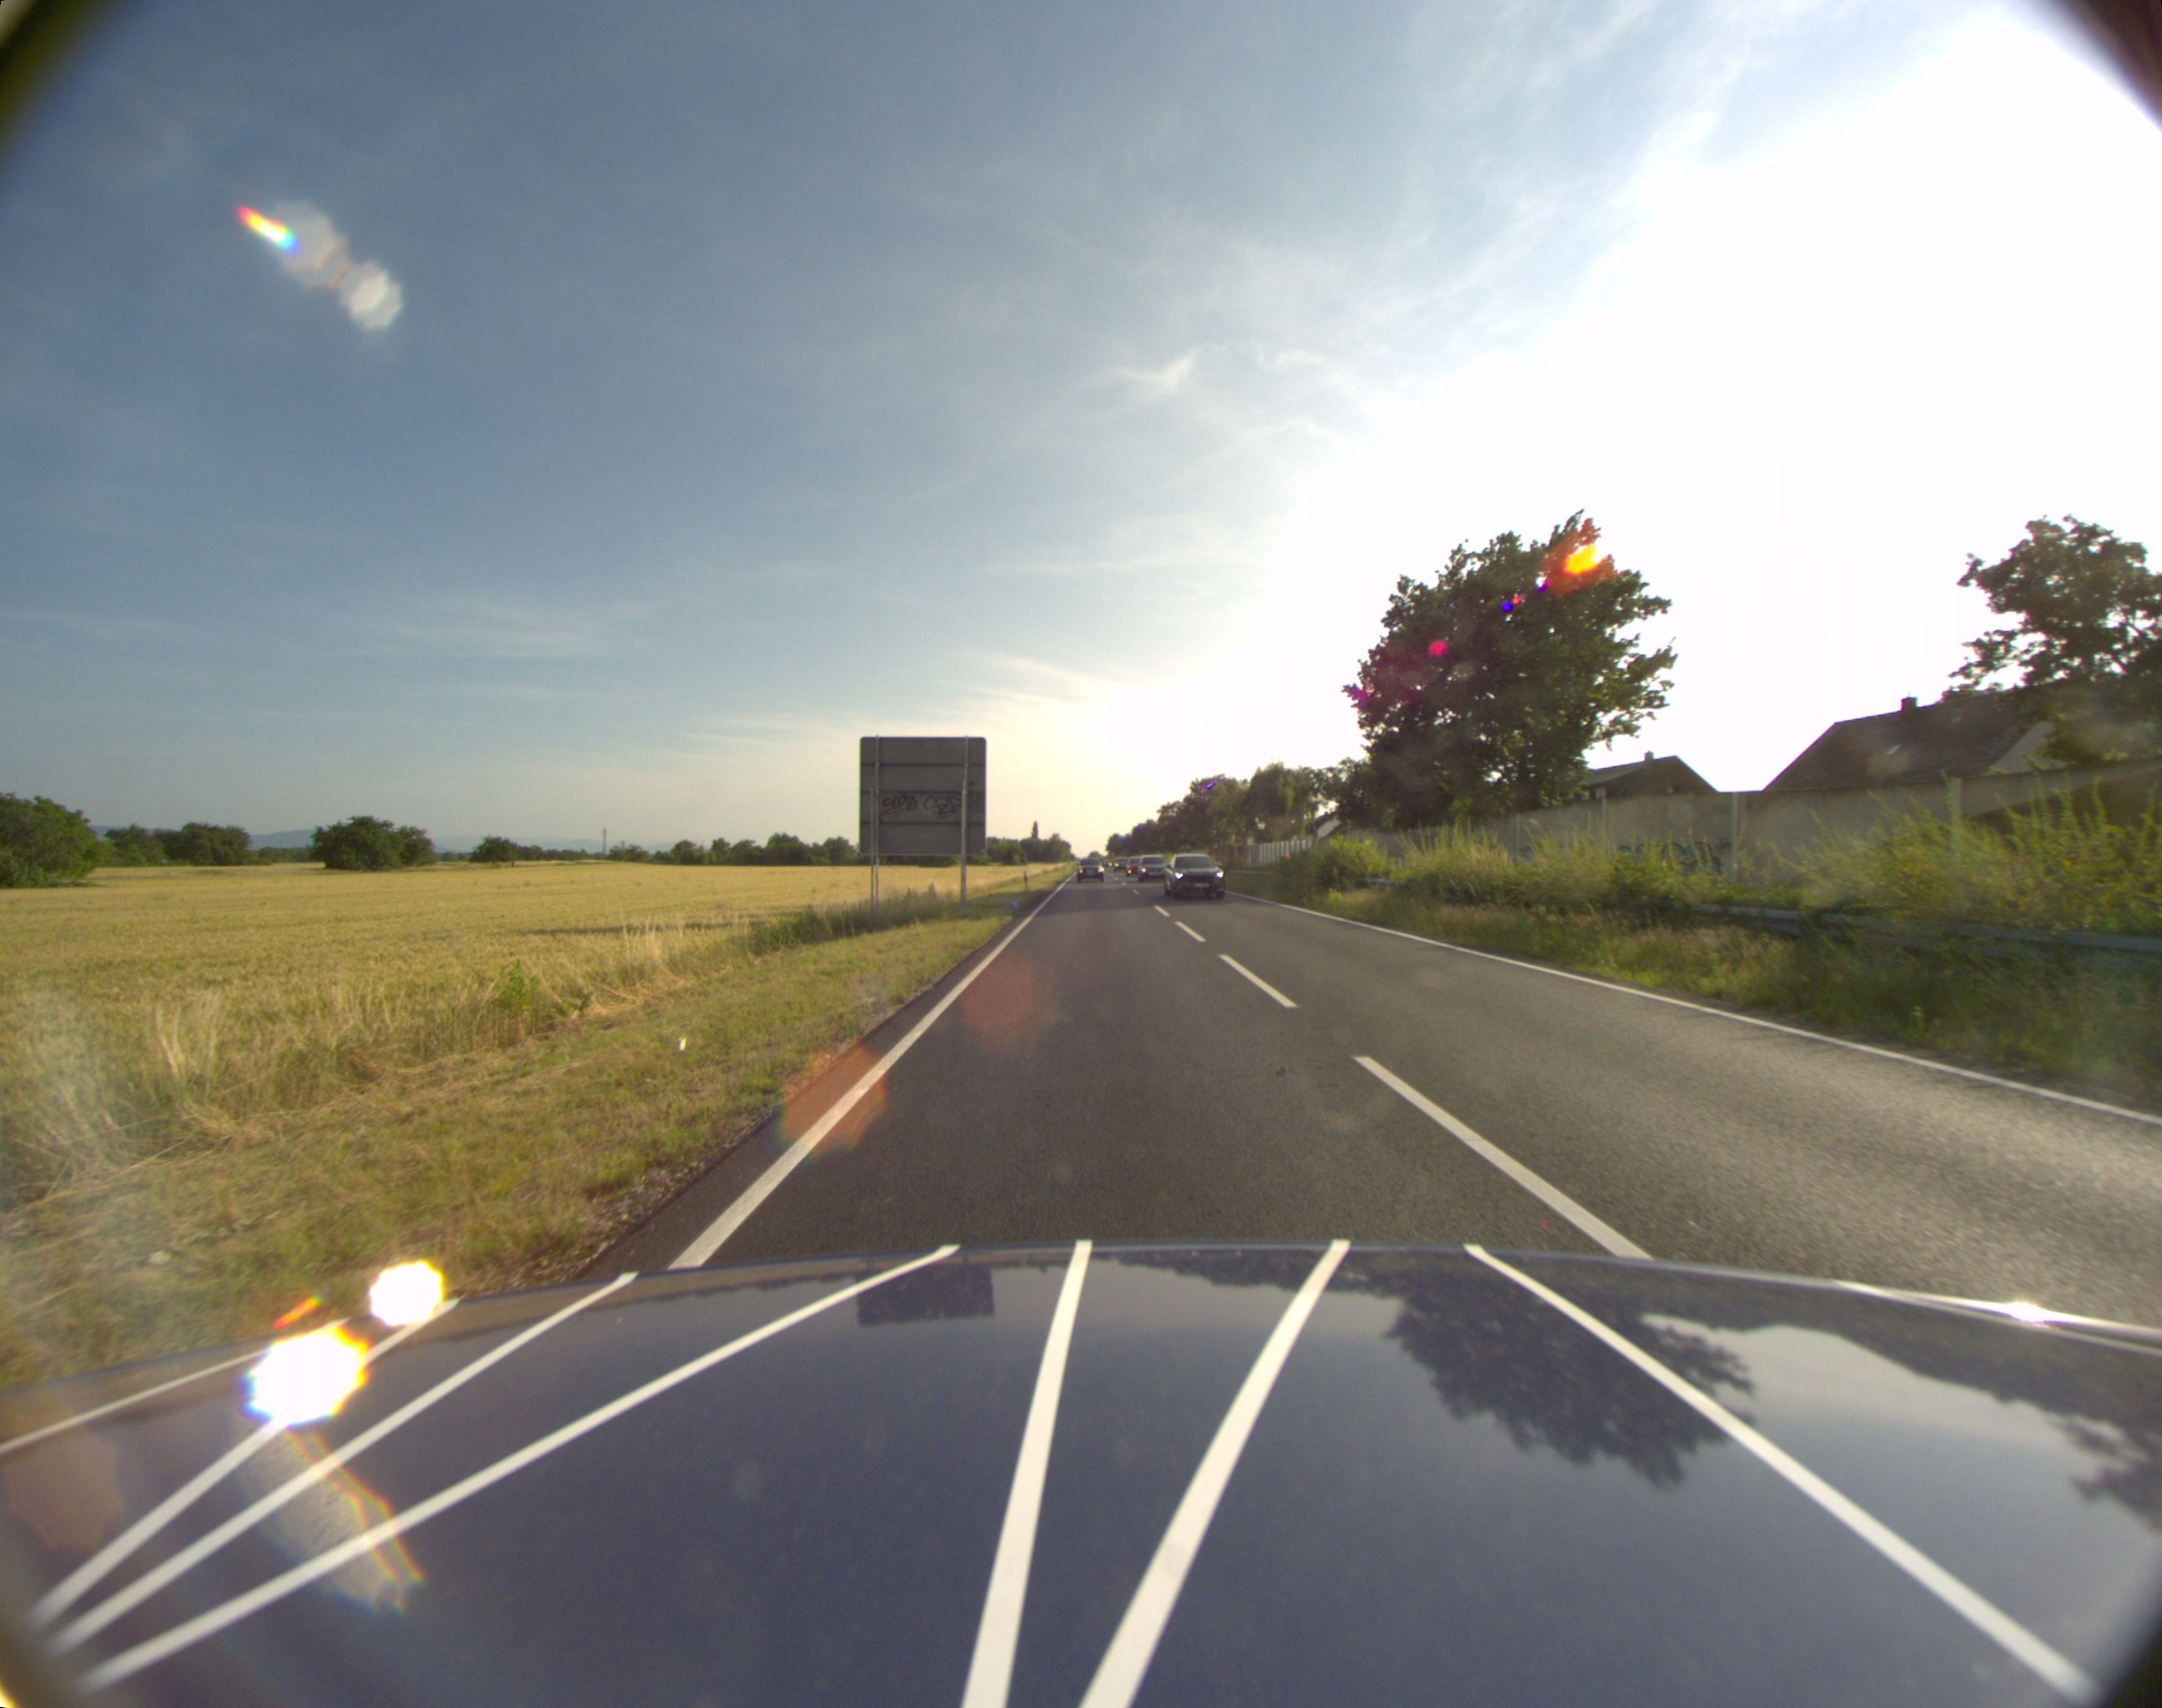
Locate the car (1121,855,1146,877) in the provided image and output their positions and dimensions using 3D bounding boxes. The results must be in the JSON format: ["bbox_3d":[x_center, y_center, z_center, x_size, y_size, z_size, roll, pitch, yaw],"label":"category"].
[{"bbox_3d":[4.314,0.989,62.965,1.822,1.661,4.000,-2,0,1],"label":"car"}]

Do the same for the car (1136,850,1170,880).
[{"bbox_3d":[4.492,0.666,47.905,1.822,1.724,4.000,-2,0,1],"label":"car"}]

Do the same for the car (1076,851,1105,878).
[{"bbox_3d":[0.607,0.637,50.799,1.822,1.661,3.999,-2,0,0],"label":"car"}]

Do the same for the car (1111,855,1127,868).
[{"bbox_3d":[4.599,0.926,92.667,1.700,1.456,3.646,-2,0,0],"label":"car"}]

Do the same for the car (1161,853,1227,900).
[{"bbox_3d":[4.120,0.765,28.217,1.822,1.516,4.246,-2,0,1],"label":"car"}]

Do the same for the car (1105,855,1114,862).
[{"bbox_3d":[5.743,0.855,155.407,1.693,1.397,3.999,-2,0,0],"label":"car"}]
